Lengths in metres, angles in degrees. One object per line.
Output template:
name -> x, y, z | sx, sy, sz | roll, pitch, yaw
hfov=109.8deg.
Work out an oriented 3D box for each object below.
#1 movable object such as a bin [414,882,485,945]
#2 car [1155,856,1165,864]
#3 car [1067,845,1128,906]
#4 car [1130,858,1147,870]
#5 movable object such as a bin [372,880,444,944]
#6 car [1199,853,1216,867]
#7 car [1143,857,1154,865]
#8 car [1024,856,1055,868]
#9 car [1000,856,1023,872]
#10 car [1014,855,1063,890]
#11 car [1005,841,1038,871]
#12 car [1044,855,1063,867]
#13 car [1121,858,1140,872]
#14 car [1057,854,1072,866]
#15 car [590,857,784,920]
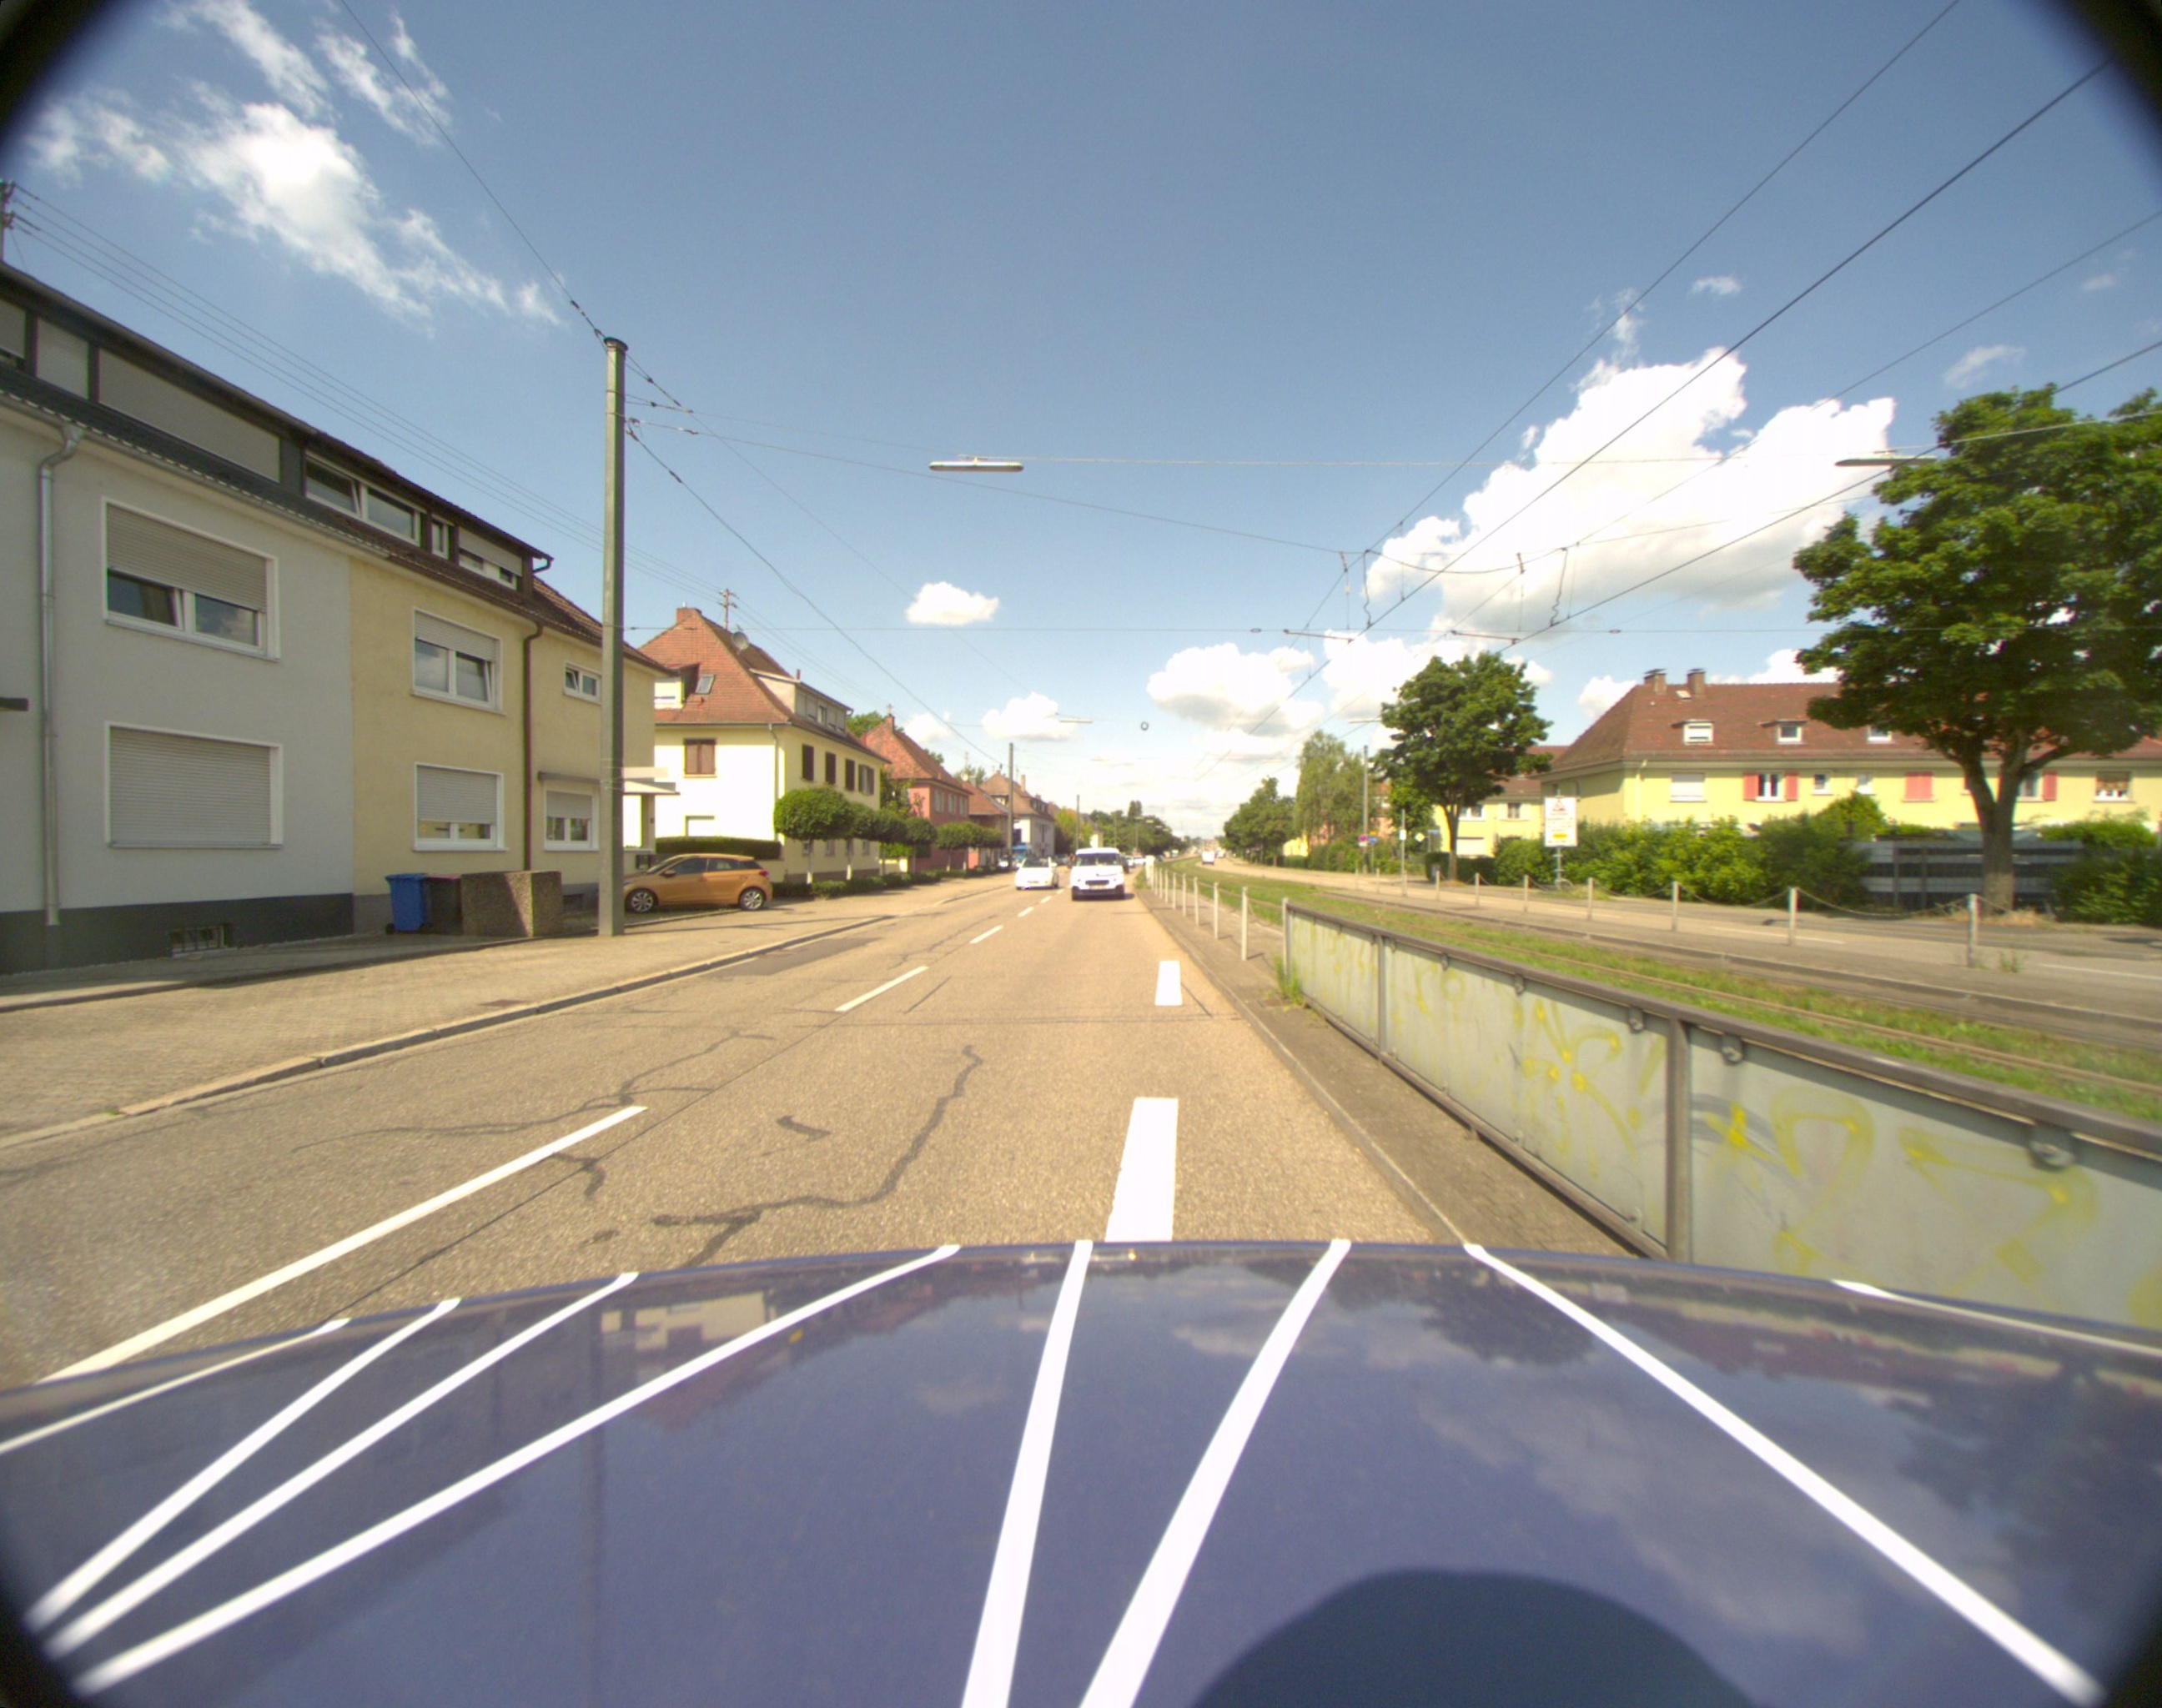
movable object such as a bin -> -10.954, 1.013, 13.200 | 0.640, 1.041, 0.685 | 0, 0, 1
car -> 17.348, 1.308, 166.598 | 1.997, 1.477, 4.002 | -1, 0, 8
car -> 0.634, 0.674, 25.772 | 1.777, 1.850, 4.377 | -1, 0, 5
car -> 8.076, 1.423, 106.495 | 1.997, 1.576, 4.003 | -1, 0, 10
movable object such as a bin -> -11.661, 0.993, 13.173 | 0.647, 1.049, 0.659 | 0, 0, 1
car -> 22.220, 1.045, 133.714 | 2.201, 2.358, 5.333 | 2, 1, 2
car -> 13.257, 1.285, 148.542 | 1.997, 1.477, 4.002 | -1, 0, 8
car -> -5.251, 0.994, 95.602 | 3.657, 1.372, 1.727 | 0, 1, 4
car -> -6.561, 0.914, 72.195 | 1.653, 1.401, 4.350 | 1, 1, 2
car -> -1.948, 0.842, 35.949 | 1.777, 1.540, 4.001 | -1, 0, 5
car -> -6.129, 0.195, 79.080 | 2.156, 2.913, 6.247 | -1, 1, 6
car -> -3.607, 0.914, 101.242 | 1.802, 1.415, 4.860 | 1, 0, 6
car -> 5.896, 1.296, 90.197 | 1.997, 1.477, 4.002 | -1, 0, 8
car -> -2.367, 0.841, 111.135 | 1.760, 1.637, 4.770 | 1, 1, 4
car -> -10.084, 0.864, 19.569 | 4.102, 1.449, 1.911 | 2, -2, -39
